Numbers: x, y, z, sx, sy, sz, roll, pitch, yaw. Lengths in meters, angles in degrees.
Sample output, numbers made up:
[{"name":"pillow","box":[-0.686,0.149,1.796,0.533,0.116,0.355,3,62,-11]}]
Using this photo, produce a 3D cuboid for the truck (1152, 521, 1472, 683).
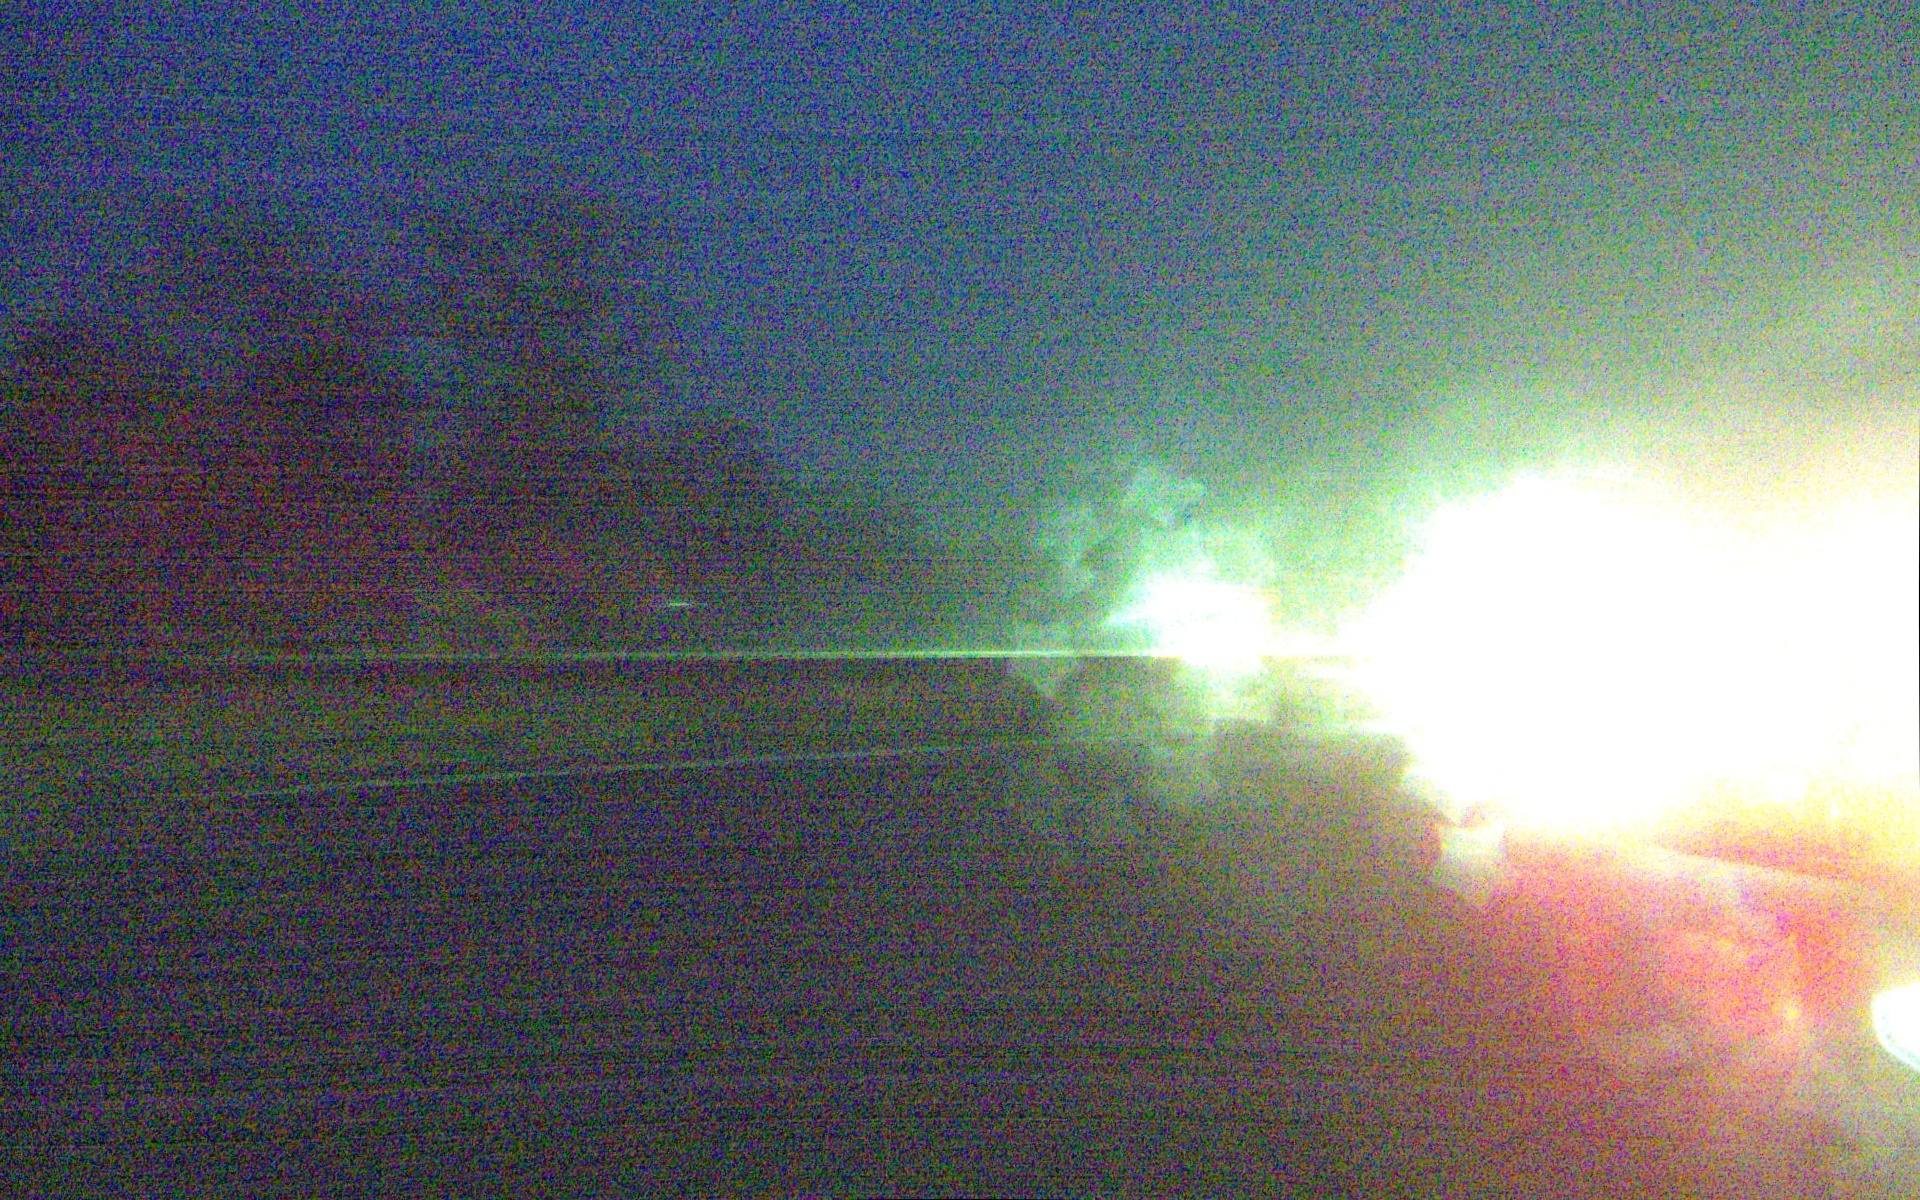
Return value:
[{"name":"truck","box":[16.533,0.329,45.953,17.094,6.497,3.208,2,0,-29]}]

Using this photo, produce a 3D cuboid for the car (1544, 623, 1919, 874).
[{"name":"car","box":[6.490,0.929,7.807,4.200,1.450,1.647,1,0,-33]}]

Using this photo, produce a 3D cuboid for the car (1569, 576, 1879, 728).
[{"name":"car","box":[12.618,0.798,16.483,5.564,2.132,2.112,2,0,-31]}]
